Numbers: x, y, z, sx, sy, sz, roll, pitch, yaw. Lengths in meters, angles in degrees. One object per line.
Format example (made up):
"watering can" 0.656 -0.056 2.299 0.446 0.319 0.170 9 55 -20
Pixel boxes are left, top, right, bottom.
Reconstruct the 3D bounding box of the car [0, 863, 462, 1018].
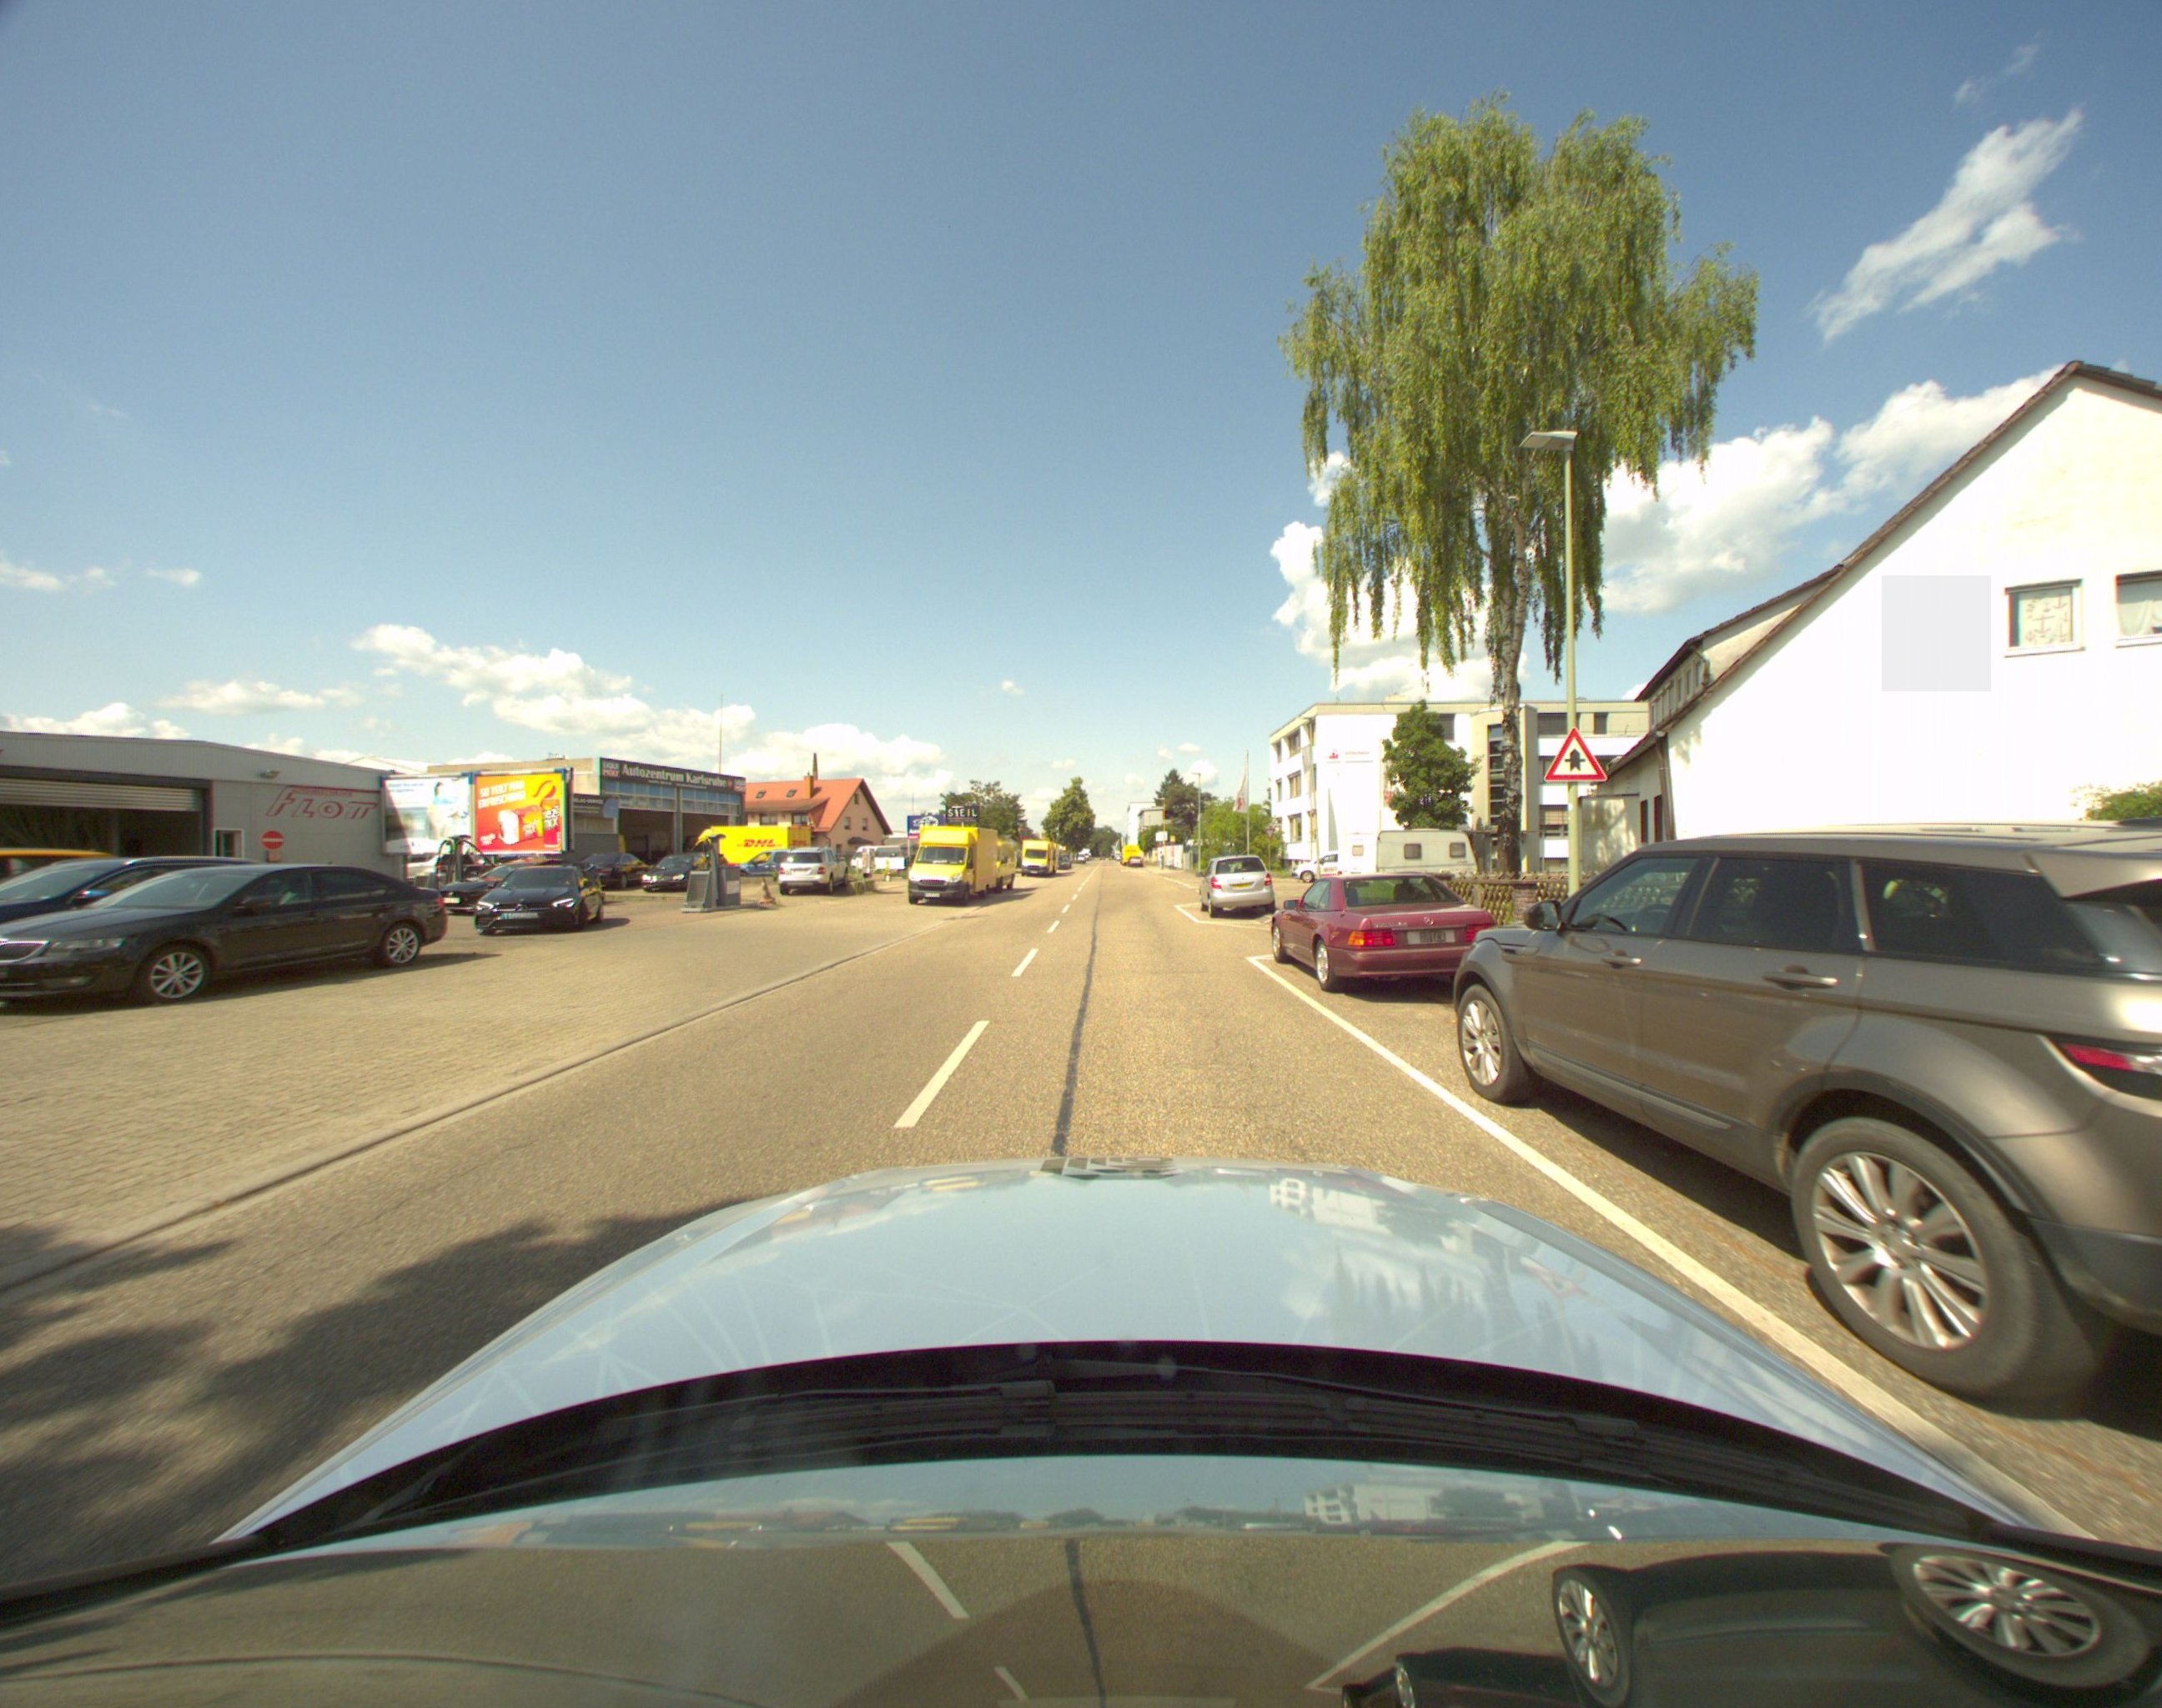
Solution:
"car" -10.307 0.843 9.999 1.747 1.410 4.587 0 0 3

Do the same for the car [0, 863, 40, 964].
"car" -17.373 0.936 10.763 1.747 1.533 4.167 -2 0 3

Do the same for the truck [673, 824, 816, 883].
"truck" -17.333 -0.004 42.072 6.550 2.850 2.538 -1 0 14

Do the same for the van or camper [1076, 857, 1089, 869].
"van or camper" 0.342 1.952 173.563 2.163 2.413 7.707 -1 0 5

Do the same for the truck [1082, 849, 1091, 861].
"truck" 1.527 0.192 218.965 2.022 3.154 6.502 -1 0 2

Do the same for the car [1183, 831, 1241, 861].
"car" 11.982 -0.712 74.877 4.900 2.652 2.069 -1 0 -6

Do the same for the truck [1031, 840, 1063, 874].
"truck" -2.975 0.228 73.747 2.307 2.862 7.107 2 0 2

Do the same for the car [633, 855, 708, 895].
"car" -16.624 0.795 33.205 1.670 1.287 3.994 0 3 -11

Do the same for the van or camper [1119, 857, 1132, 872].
"van or camper" 7.312 1.679 133.954 1.986 2.291 5.450 1 0 2

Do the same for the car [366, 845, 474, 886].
"car" -26.615 0.467 32.812 3.480 1.592 1.568 -1 0 14

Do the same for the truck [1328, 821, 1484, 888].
"truck" 13.477 -0.007 33.763 6.069 2.577 2.545 0 0 -25

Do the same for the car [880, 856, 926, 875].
"car" -13.946 0.895 63.978 1.795 1.305 3.886 -2 1 16

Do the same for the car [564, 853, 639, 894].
"car" -19.474 0.762 33.243 1.870 1.372 3.975 1 2 -19

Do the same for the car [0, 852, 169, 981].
"car" -14.570 0.810 10.603 1.434 1.656 3.309 -1 0 9

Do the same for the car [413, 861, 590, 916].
"car" -16.298 0.923 23.152 1.879 1.290 3.764 0 1 13

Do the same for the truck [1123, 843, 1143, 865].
"truck" 7.217 0.026 113.908 2.466 2.940 7.188 1 0 1

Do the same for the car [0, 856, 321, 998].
"car" -12.588 0.805 10.331 1.747 1.533 4.260 0 0 3

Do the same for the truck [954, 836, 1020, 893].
"truck" -4.262 0.460 37.942 1.985 2.413 6.069 -1 0 3

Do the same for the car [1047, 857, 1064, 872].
"car" -2.809 1.132 91.478 1.719 1.604 4.413 2 0 0

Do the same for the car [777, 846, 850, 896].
"car" -10.494 0.599 32.316 1.827 1.705 4.697 -1 2 -7

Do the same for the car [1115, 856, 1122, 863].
"car" 10.569 1.591 230.918 1.701 2.090 4.001 -1 0 1

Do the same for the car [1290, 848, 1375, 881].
"car" 13.926 0.610 45.077 4.358 1.753 1.874 -1 -3 19

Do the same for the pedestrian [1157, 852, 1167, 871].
"pedestrian" 7.595 0.674 76.634 0.714 1.697 0.522 -6 0 -3

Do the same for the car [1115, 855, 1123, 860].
"car" 9.587 0.905 206.981 1.921 1.310 4.001 -1 0 2

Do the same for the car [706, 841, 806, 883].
"car" -15.204 0.340 38.189 3.903 1.810 1.861 2 0 11

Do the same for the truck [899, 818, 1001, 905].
"truck" -4.707 0.263 30.605 2.211 2.857 7.075 1 0 3

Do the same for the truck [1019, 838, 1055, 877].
"truck" -3.397 0.276 64.150 2.261 2.855 7.175 1 -1 1

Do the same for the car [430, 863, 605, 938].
"car" -12.389 0.977 17.792 4.534 1.395 2.012 -3 -1 40

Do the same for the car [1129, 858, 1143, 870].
"car" 6.916 1.258 102.395 1.645 1.387 4.425 0 0 2

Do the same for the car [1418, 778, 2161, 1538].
"car" 3.302 0.648 3.776 1.825 1.640 4.241 -1 0 2

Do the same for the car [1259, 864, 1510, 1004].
"car" 3.536 0.834 10.407 1.663 1.335 4.439 0 0 2

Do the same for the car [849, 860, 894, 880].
"car" -16.576 1.241 64.538 1.752 1.513 3.932 -1 0 14

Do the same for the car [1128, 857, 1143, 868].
"car" 7.157 1.078 107.540 1.656 1.441 4.283 -1 0 0

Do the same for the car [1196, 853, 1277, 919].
"car" 4.046 0.768 21.741 1.603 1.580 4.004 1 0 3

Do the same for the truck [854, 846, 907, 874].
"truck" -18.062 0.514 73.585 2.095 2.488 5.744 -1 0 15
